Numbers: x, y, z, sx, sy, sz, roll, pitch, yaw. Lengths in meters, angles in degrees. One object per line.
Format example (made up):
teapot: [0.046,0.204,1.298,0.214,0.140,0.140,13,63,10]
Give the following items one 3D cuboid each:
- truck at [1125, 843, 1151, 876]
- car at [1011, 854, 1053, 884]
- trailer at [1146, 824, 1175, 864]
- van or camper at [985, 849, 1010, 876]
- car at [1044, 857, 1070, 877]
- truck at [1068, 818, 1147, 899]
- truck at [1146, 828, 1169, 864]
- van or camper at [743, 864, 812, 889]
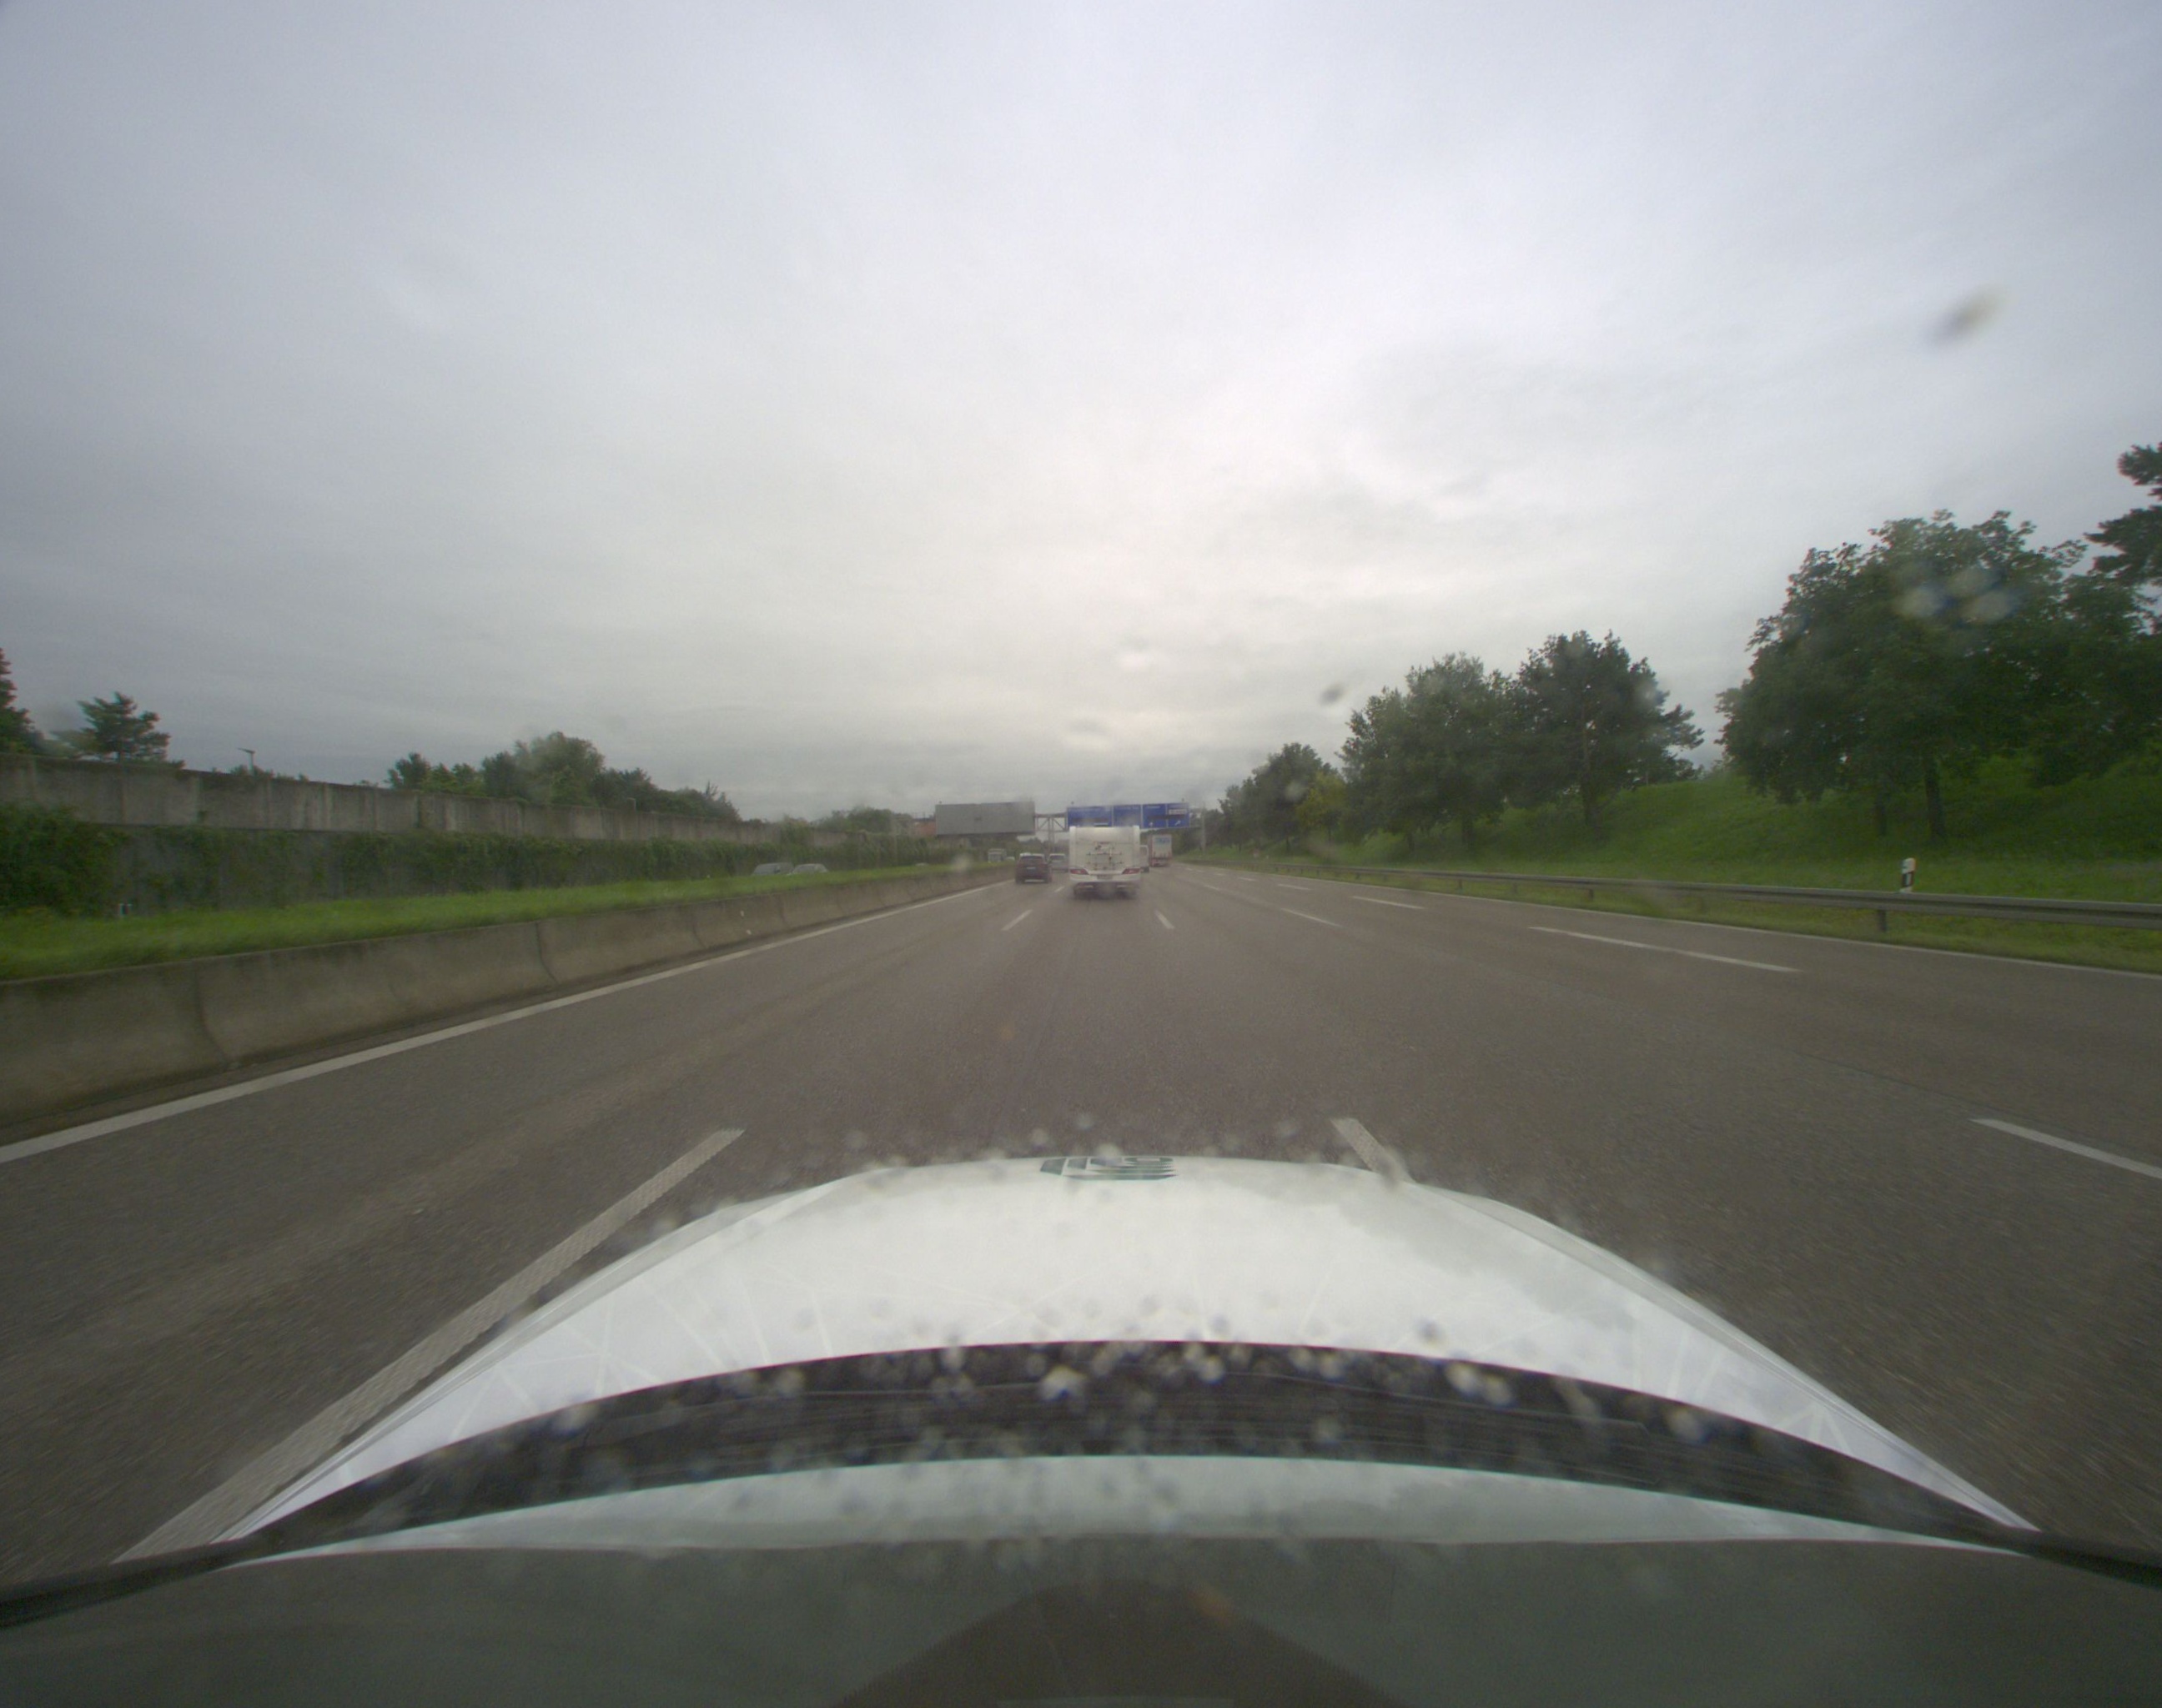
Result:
truck: [5.058,0.492,72.710,2.046,2.770,5.550,0,-1,1]
car: [-2.752,0.821,46.512,1.986,1.600,5.124,0,0,1]
trailer: [10.233,-1.156,105.602,3.087,4.922,11.797,0,0,3]
van or camper: [-12.461,1.268,122.495,2.698,3.948,8.405,0,-1,2]
car: [-2.143,1.165,74.413,2.120,1.706,4.113,0,0,1]
truck: [0.958,0.163,30.203,2.651,2.742,5.078,0,-1,1]
truck: [10.603,-1.092,113.467,3.036,4.839,5.854,0,-1,3]
van or camper: [-23.746,1.738,64.170,2.183,1.800,8.437,0,0,1]
